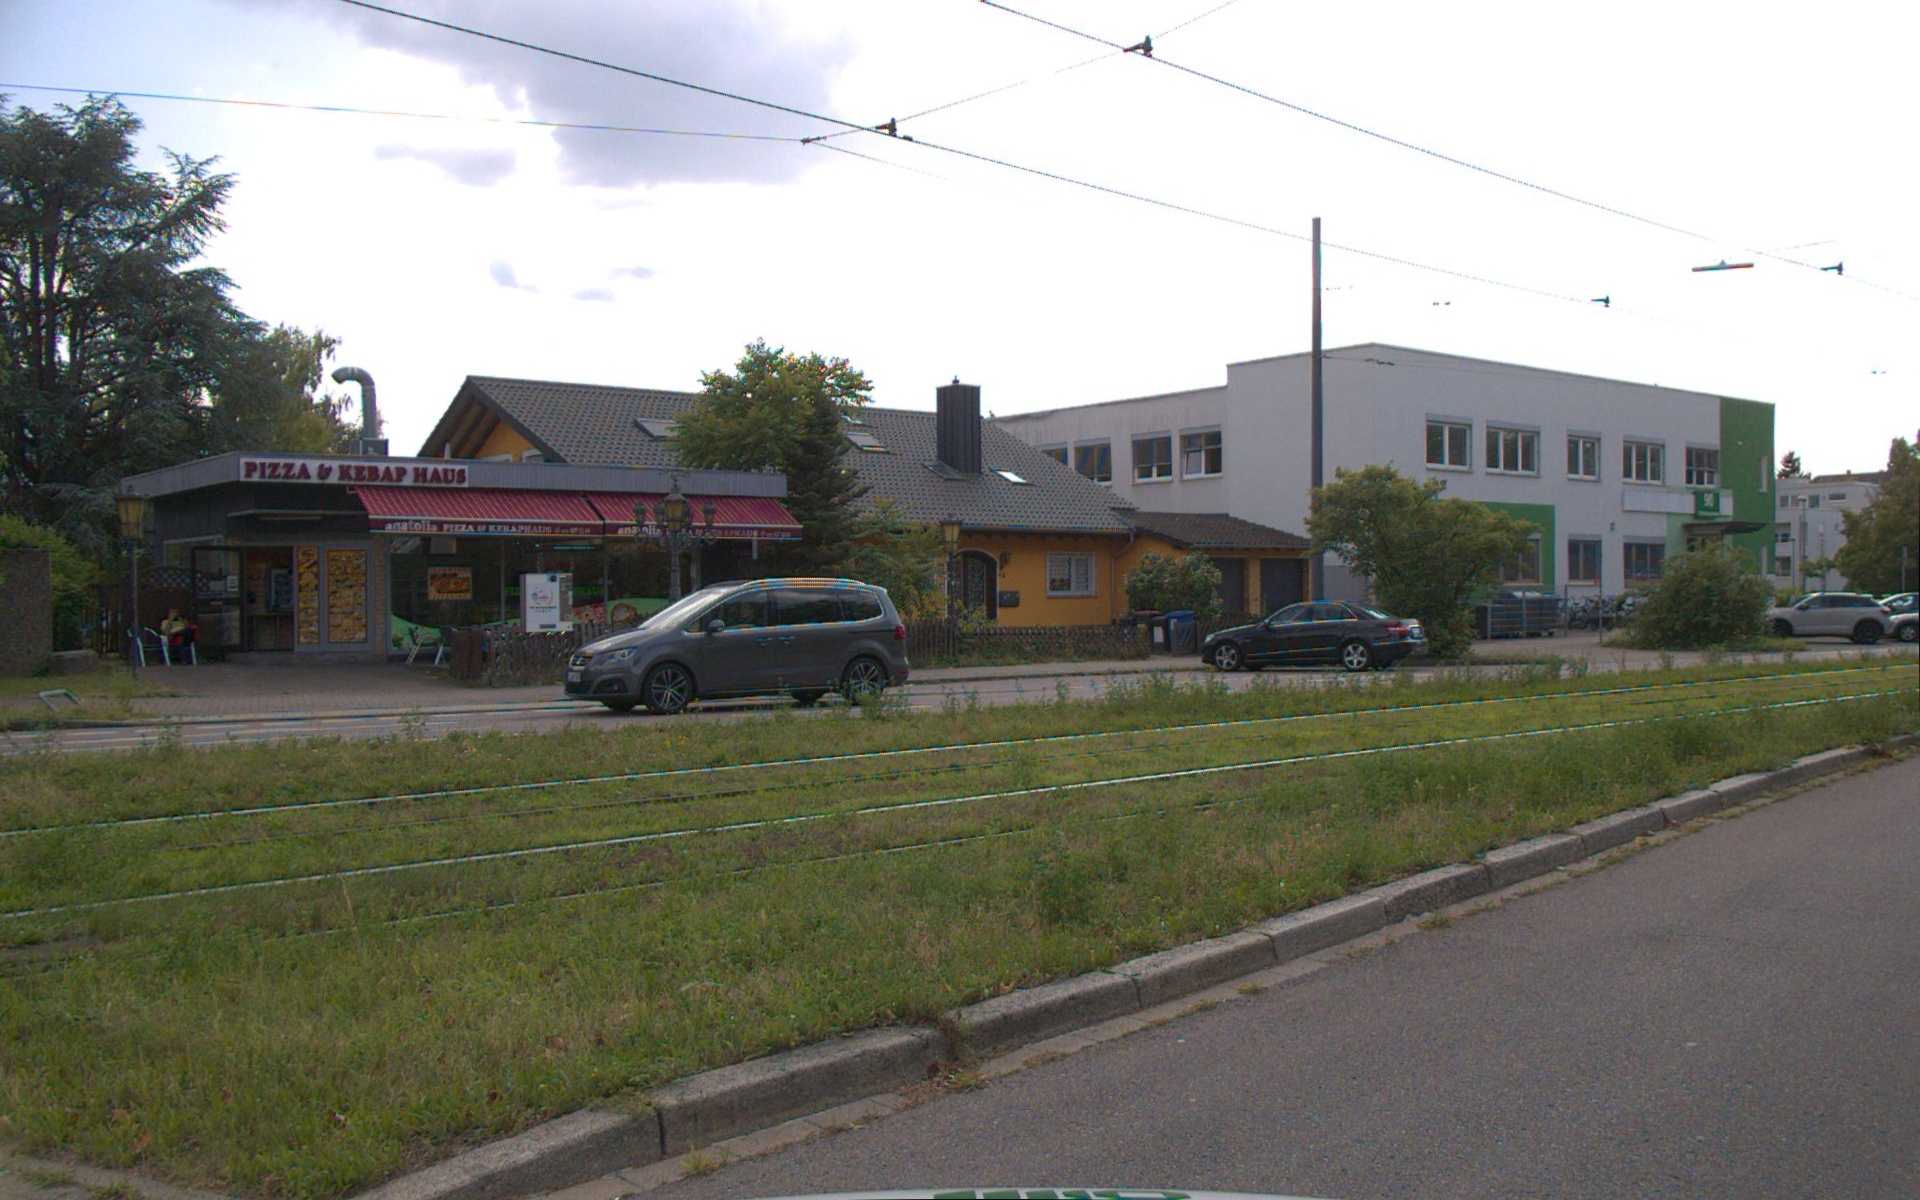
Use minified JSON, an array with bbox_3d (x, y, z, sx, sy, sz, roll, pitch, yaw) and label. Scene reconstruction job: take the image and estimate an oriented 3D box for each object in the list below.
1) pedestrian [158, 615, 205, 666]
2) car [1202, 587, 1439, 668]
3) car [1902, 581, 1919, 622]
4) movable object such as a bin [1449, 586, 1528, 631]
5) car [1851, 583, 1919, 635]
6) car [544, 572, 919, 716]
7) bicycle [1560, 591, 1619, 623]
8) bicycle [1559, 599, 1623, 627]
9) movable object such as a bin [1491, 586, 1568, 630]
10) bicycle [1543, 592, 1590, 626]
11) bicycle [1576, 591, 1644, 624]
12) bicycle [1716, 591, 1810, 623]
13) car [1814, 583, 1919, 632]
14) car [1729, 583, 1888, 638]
[{"bbox_3d":[-15.066,0.776,32.006,0.718,0.945,0.768,0,1,-34],"label":"pedestrian"},{"bbox_3d":[7.622,0.590,35.065,4.481,1.608,1.996,-2,0,31],"label":"car"},{"bbox_3d":[38.056,0.049,62.679,4.078,1.530,1.858,0,0,29],"label":"car"},{"bbox_3d":[16.392,0.247,51.259,2.093,1.350,1.359,-1,0,-36],"label":"movable object such as a bin"},{"bbox_3d":[31.327,0.291,53.445,4.212,1.657,1.902,0,0,21],"label":"car"},{"bbox_3d":[-3.052,0.519,22.452,4.681,1.752,1.978,-1,0,-33],"label":"car"},{"bbox_3d":[21.802,0.248,57.277,0.730,1.100,1.770,-1,0,-41],"label":"bicycle"},{"bbox_3d":[22.856,0.476,59.945,0.722,0.987,2.133,-1,0,-35],"label":"bicycle"},{"bbox_3d":[18.134,0.251,52.620,2.107,1.350,1.359,-1,0,-36],"label":"movable object such as a bin"},{"bbox_3d":[21.643,0.302,59.028,0.694,1.186,1.610,-1,0,-22],"label":"bicycle"},{"bbox_3d":[23.690,0.282,60.342,0.751,1.186,2.325,-1,0,-33],"label":"bicycle"},{"bbox_3d":[31.025,0.277,63.968,1.133,1.186,3.094,-1,0,-43],"label":"bicycle"},{"bbox_3d":[31.514,0.239,56.306,4.214,1.657,1.901,0,0,23],"label":"car"},{"bbox_3d":[26.858,0.333,52.504,4.211,1.658,1.903,-1,0,18],"label":"car"}]
